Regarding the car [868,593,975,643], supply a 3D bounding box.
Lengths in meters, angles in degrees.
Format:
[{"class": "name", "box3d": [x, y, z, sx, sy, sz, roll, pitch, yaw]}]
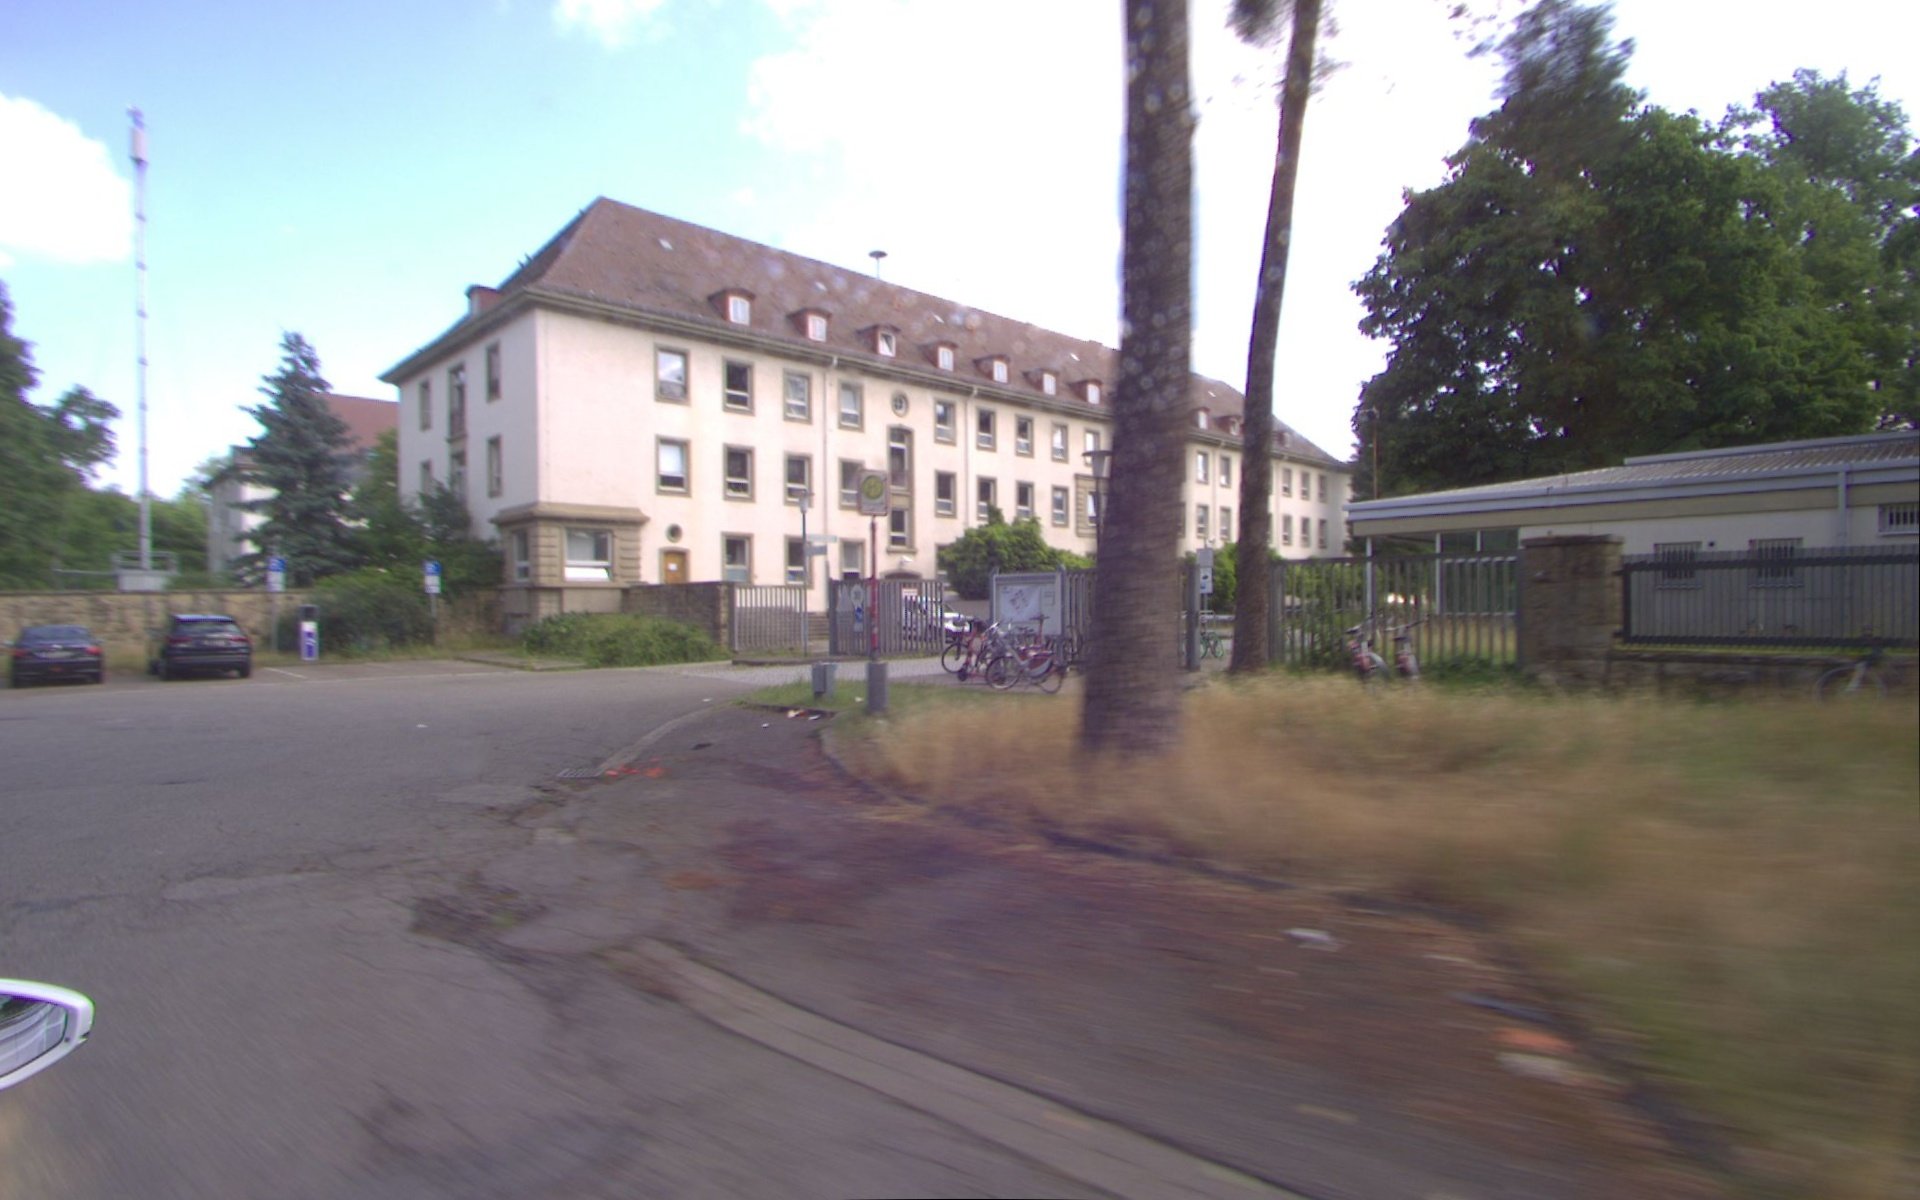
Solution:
[{"class": "car", "box3d": [-1.657, 0.693, 41.808, 4.399, 1.775, 1.843, 4, 4, 43]}]

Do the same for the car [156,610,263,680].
[{"class": "car", "box3d": [-19.499, 1.100, 25.953, 1.879, 1.567, 3.963, -1, 1, -42]}]

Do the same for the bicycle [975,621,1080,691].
[{"class": "bicycle", "box3d": [1.106, 0.912, 16.555, 1.666, 1.098, 0.734, -2, -2, 45]}]

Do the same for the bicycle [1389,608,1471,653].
[{"class": "bicycle", "box3d": [12.872, 0.847, 27.448, 1.997, 1.185, 0.398, -1, -2, 38]}]

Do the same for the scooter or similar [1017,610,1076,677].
[{"class": "scooter or similar", "box3d": [1.699, 0.852, 19.779, 0.381, 1.262, 1.275, -1, -1, -37]}]

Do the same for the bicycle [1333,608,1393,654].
[{"class": "bicycle", "box3d": [10.482, 0.815, 26.070, 0.432, 1.185, 1.382, 2, -2, -43]}]

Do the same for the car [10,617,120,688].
[{"class": "car", "box3d": [-21.818, 1.205, 24.498, 1.859, 1.461, 3.964, -1, 1, -41]}]

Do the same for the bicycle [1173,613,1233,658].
[{"class": "bicycle", "box3d": [6.045, 0.873, 24.875, 1.579, 1.071, 0.725, -1, -1, -45]}]

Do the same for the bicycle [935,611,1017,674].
[{"class": "bicycle", "box3d": [0.319, 0.902, 21.420, 1.721, 1.294, 0.667, -3, -1, 42]}]

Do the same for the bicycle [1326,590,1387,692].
[{"class": "bicycle", "box3d": [6.007, 0.582, 15.118, 0.580, 1.436, 1.789, -1, 1, 30]}]

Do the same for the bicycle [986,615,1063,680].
[{"class": "bicycle", "box3d": [1.233, 0.907, 19.353, 0.614, 1.178, 1.601, -2, 0, -33]}]

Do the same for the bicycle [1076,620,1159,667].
[{"class": "bicycle", "box3d": [3.425, 0.944, 21.879, 0.453, 0.981, 1.934, -1, 0, -42]}]

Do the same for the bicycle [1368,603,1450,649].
[{"class": "bicycle", "box3d": [11.911, 0.705, 26.624, 1.932, 1.185, 0.482, -1, -2, 41]}]

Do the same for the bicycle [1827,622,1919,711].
[{"class": "bicycle", "box3d": [11.335, 0.769, 11.598, 0.370, 1.030, 1.934, -1, 0, -44]}]

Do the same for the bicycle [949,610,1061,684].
[{"class": "bicycle", "box3d": [0.795, 0.823, 18.289, 2.150, 1.257, 0.630, 0, 1, 42]}]

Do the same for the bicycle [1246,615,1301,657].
[{"class": "bicycle", "box3d": [8.562, 0.963, 27.344, 1.697, 1.086, 0.725, -1, -1, -45]}]

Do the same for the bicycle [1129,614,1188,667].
[{"class": "bicycle", "box3d": [4.753, 0.948, 23.870, 0.498, 1.186, 1.699, -1, 1, 45]}]

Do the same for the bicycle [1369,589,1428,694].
[{"class": "bicycle", "box3d": [6.474, 0.569, 14.726, 0.569, 1.436, 1.973, -1, 0, 30]}]

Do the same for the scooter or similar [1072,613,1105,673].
[{"class": "scooter or similar", "box3d": [2.631, 0.852, 20.368, 0.430, 1.165, 1.250, 0, 0, 18]}]

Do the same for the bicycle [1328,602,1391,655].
[{"class": "bicycle", "box3d": [9.190, 0.670, 23.009, 1.701, 1.185, 0.434, 2, -2, -32]}]

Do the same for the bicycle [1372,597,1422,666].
[{"class": "bicycle", "box3d": [10.593, 0.774, 24.232, 0.432, 1.087, 1.595, -2, -27, 46]}]

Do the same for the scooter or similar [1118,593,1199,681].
[{"class": "scooter or similar", "box3d": [2.911, 0.548, 14.707, 1.078, 1.243, 0.435, -3, -3, 41]}]

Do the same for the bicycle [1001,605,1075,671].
[{"class": "bicycle", "box3d": [1.738, 0.857, 22.602, 0.510, 1.435, 1.892, 1, -2, -38]}]
